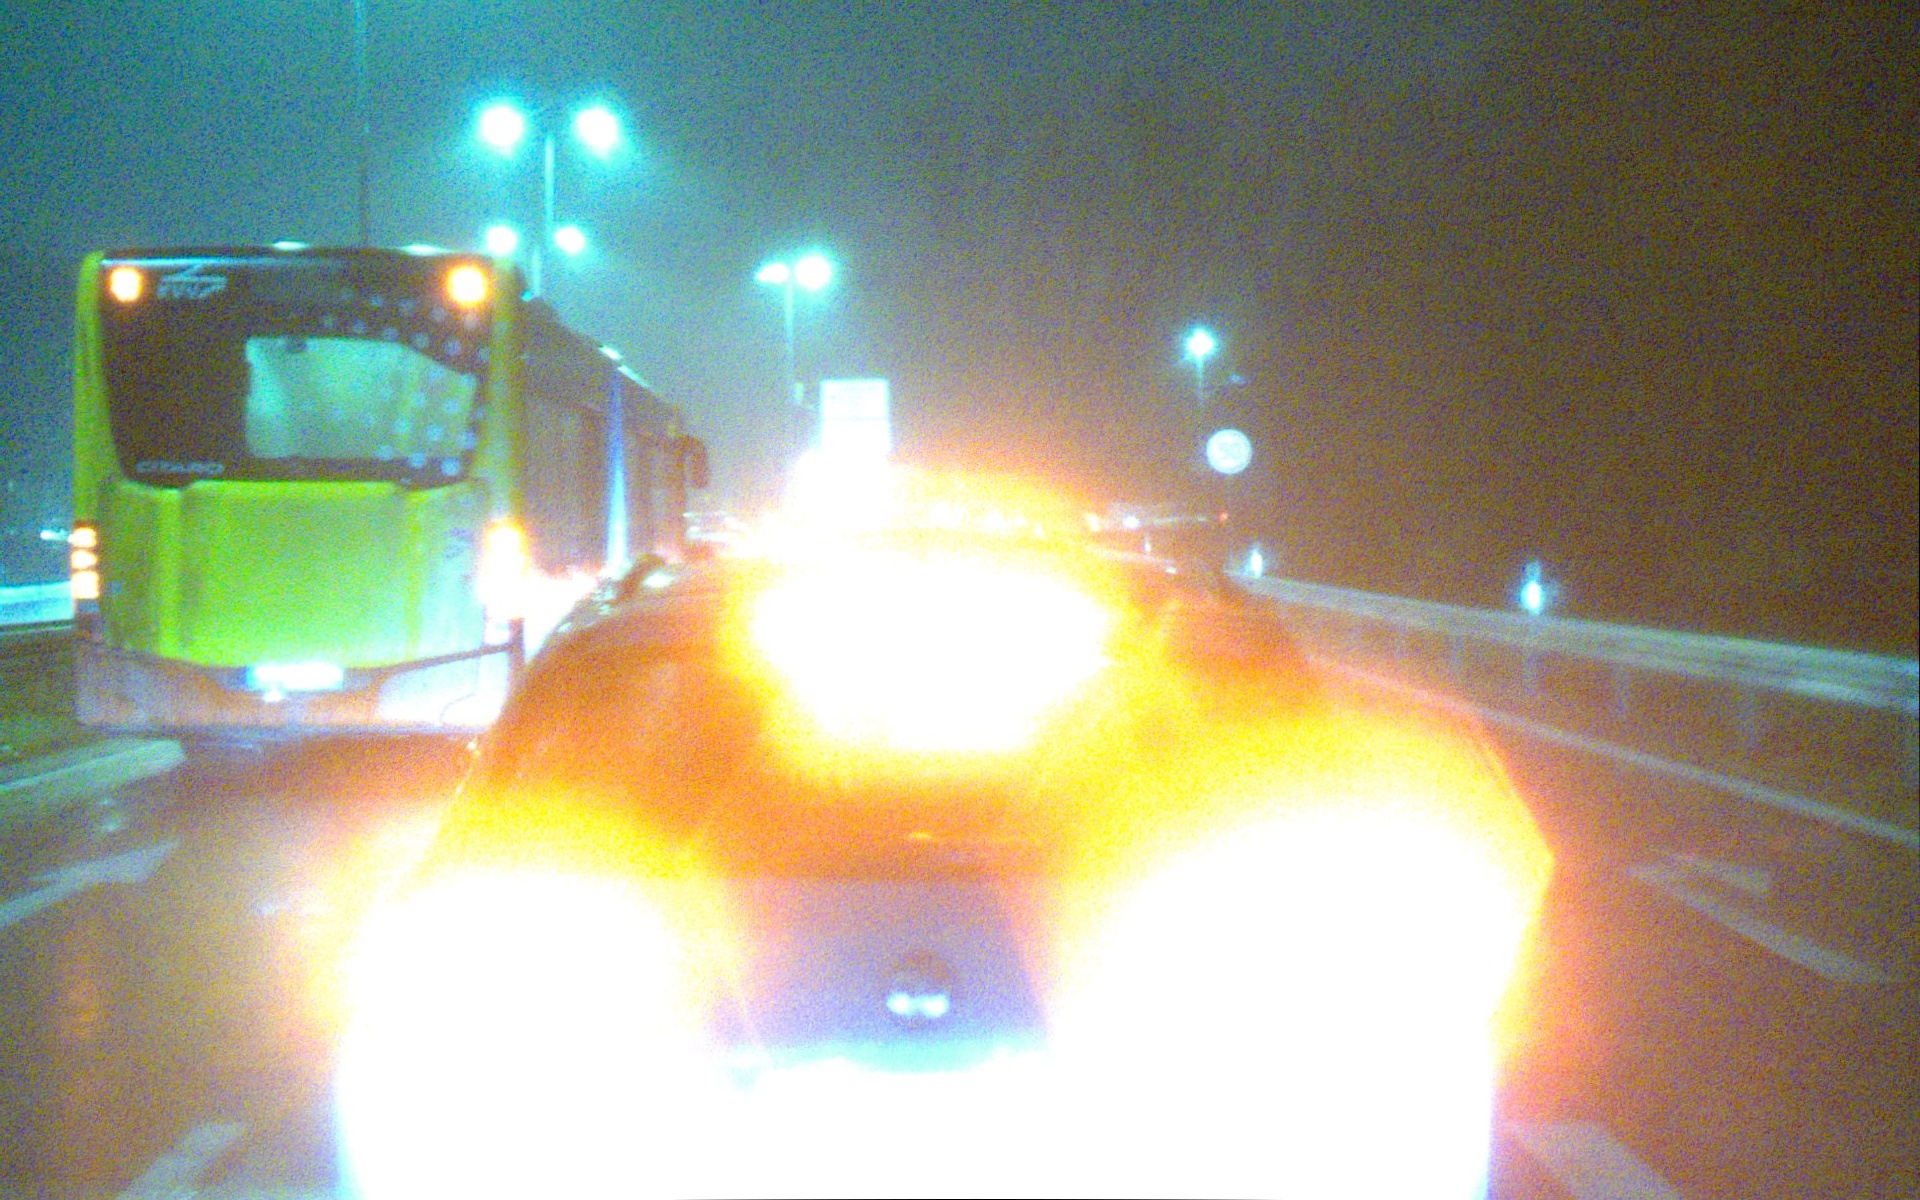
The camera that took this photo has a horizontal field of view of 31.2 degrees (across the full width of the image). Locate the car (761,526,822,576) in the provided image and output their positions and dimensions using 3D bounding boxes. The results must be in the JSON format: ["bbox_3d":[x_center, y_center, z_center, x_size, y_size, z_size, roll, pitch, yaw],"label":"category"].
[{"bbox_3d":[-5.282,-1.542,108.003,1.779,1.538,3.875,0,1,-1],"label":"car"}]

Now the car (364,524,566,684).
[{"bbox_3d":[-5.037,0.000,35.405,1.779,1.538,3.875,0,1,-4],"label":"car"}]

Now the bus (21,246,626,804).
[{"bbox_3d":[-3.869,-0.489,22.970,2.815,3.013,8.688,0,1,-3],"label":"bus"}]

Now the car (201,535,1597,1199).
[{"bbox_3d":[-0.107,0.618,6.783,1.821,1.479,4.568,0,1,-1],"label":"car"}]

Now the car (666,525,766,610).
[{"bbox_3d":[-4.581,-0.630,64.949,1.779,1.538,3.875,0,1,-3],"label":"car"}]

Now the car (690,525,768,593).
[{"bbox_3d":[-5.462,-0.988,81.265,1.779,1.538,3.875,0,1,-4],"label":"car"}]

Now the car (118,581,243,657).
[{"bbox_3d":[-16.105,0.367,71.194,1.610,1.377,4.164,-3,1,0],"label":"car"}]

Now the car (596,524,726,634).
[{"bbox_3d":[-4.362,-0.337,50.572,1.779,1.538,3.875,0,1,-3],"label":"car"}]

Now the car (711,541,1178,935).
[{"bbox_3d":[-0.160,0.478,15.205,1.731,1.444,4.725,0,1,-2],"label":"car"}]

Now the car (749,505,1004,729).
[{"bbox_3d":[-0.701,0.082,25.969,1.739,1.559,3.777,0,1,-4],"label":"car"}]
